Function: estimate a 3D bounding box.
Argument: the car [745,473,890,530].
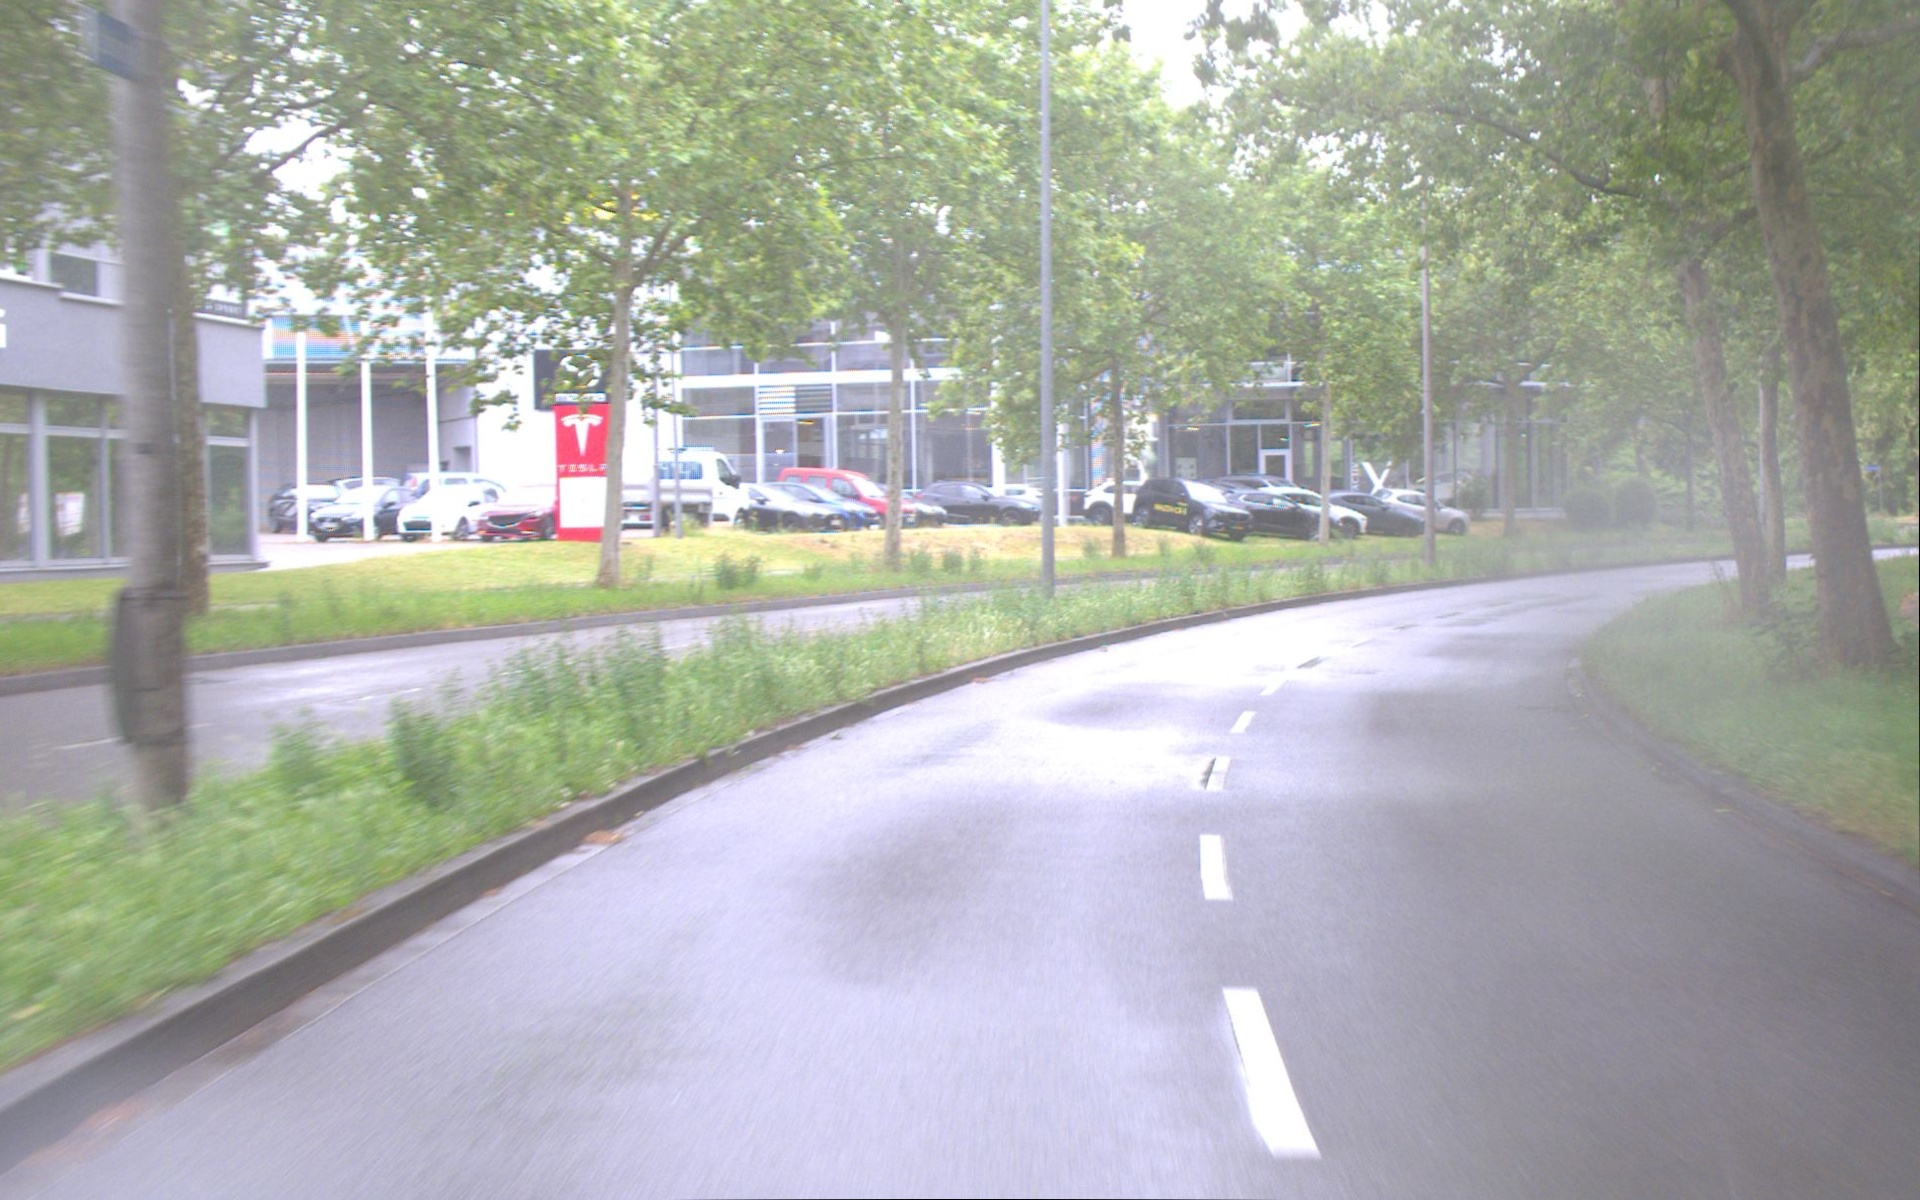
[{"bbox_3d":[-3.901,-2.711,94.161,3.527,1.322,1.766,4,4,23],"label":"car"}]

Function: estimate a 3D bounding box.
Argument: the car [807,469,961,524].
[{"bbox_3d":[-2.205,-3.018,99.447,4.001,1.352,1.845,4,4,23],"label":"car"}]

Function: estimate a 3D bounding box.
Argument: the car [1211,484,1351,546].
[{"bbox_3d":[10.548,-2.814,113.122,4.115,1.473,1.849,5,6,-8],"label":"car"}]

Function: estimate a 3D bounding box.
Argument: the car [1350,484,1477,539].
[{"bbox_3d":[16.210,-3.173,122.815,3.985,1.470,1.786,4,6,-21],"label":"car"}]

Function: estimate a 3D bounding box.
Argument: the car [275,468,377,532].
[{"bbox_3d":[-18.913,-2.998,102.376,1.814,1.758,4.655,0,3,-25],"label":"car"}]

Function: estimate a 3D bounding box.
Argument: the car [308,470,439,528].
[{"bbox_3d":[-15.526,-2.689,91.175,1.764,1.392,4.154,2,4,17],"label":"car"}]

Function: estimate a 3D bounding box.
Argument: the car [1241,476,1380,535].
[{"bbox_3d":[11.794,-3.182,115.779,4.115,1.473,1.849,5,6,-16],"label":"car"}]

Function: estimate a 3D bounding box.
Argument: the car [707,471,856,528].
[{"bbox_3d":[-4.787,-2.698,92.045,3.527,1.322,1.766,4,4,23],"label":"car"}]

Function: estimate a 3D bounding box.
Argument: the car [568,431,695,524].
[{"bbox_3d":[-10.213,-3.822,106.461,2.163,2.742,5.340,0,3,-25],"label":"car"}]

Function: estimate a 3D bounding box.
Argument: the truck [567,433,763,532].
[{"bbox_3d":[-7.506,-3.052,88.170,2.250,2.336,6.187,4,4,24],"label":"truck"}]

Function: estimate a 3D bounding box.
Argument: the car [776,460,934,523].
[{"bbox_3d":[-2.948,-3.059,96.700,4.001,1.551,1.845,4,4,23],"label":"car"}]

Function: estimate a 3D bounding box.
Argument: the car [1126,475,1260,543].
[{"bbox_3d":[7.436,-2.930,110.051,1.841,1.551,4.438,3,7,-33],"label":"car"}]

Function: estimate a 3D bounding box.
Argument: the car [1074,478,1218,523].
[{"bbox_3d":[6.241,-3.331,115.283,4.426,1.468,1.918,1,2,21],"label":"car"}]

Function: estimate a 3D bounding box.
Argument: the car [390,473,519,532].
[{"bbox_3d":[-13.274,-2.578,90.477,1.764,1.392,4.154,2,4,17],"label":"car"}]

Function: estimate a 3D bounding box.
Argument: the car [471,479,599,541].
[{"bbox_3d":[-10.944,-2.345,88.825,1.764,1.462,4.154,2,4,17],"label":"car"}]
